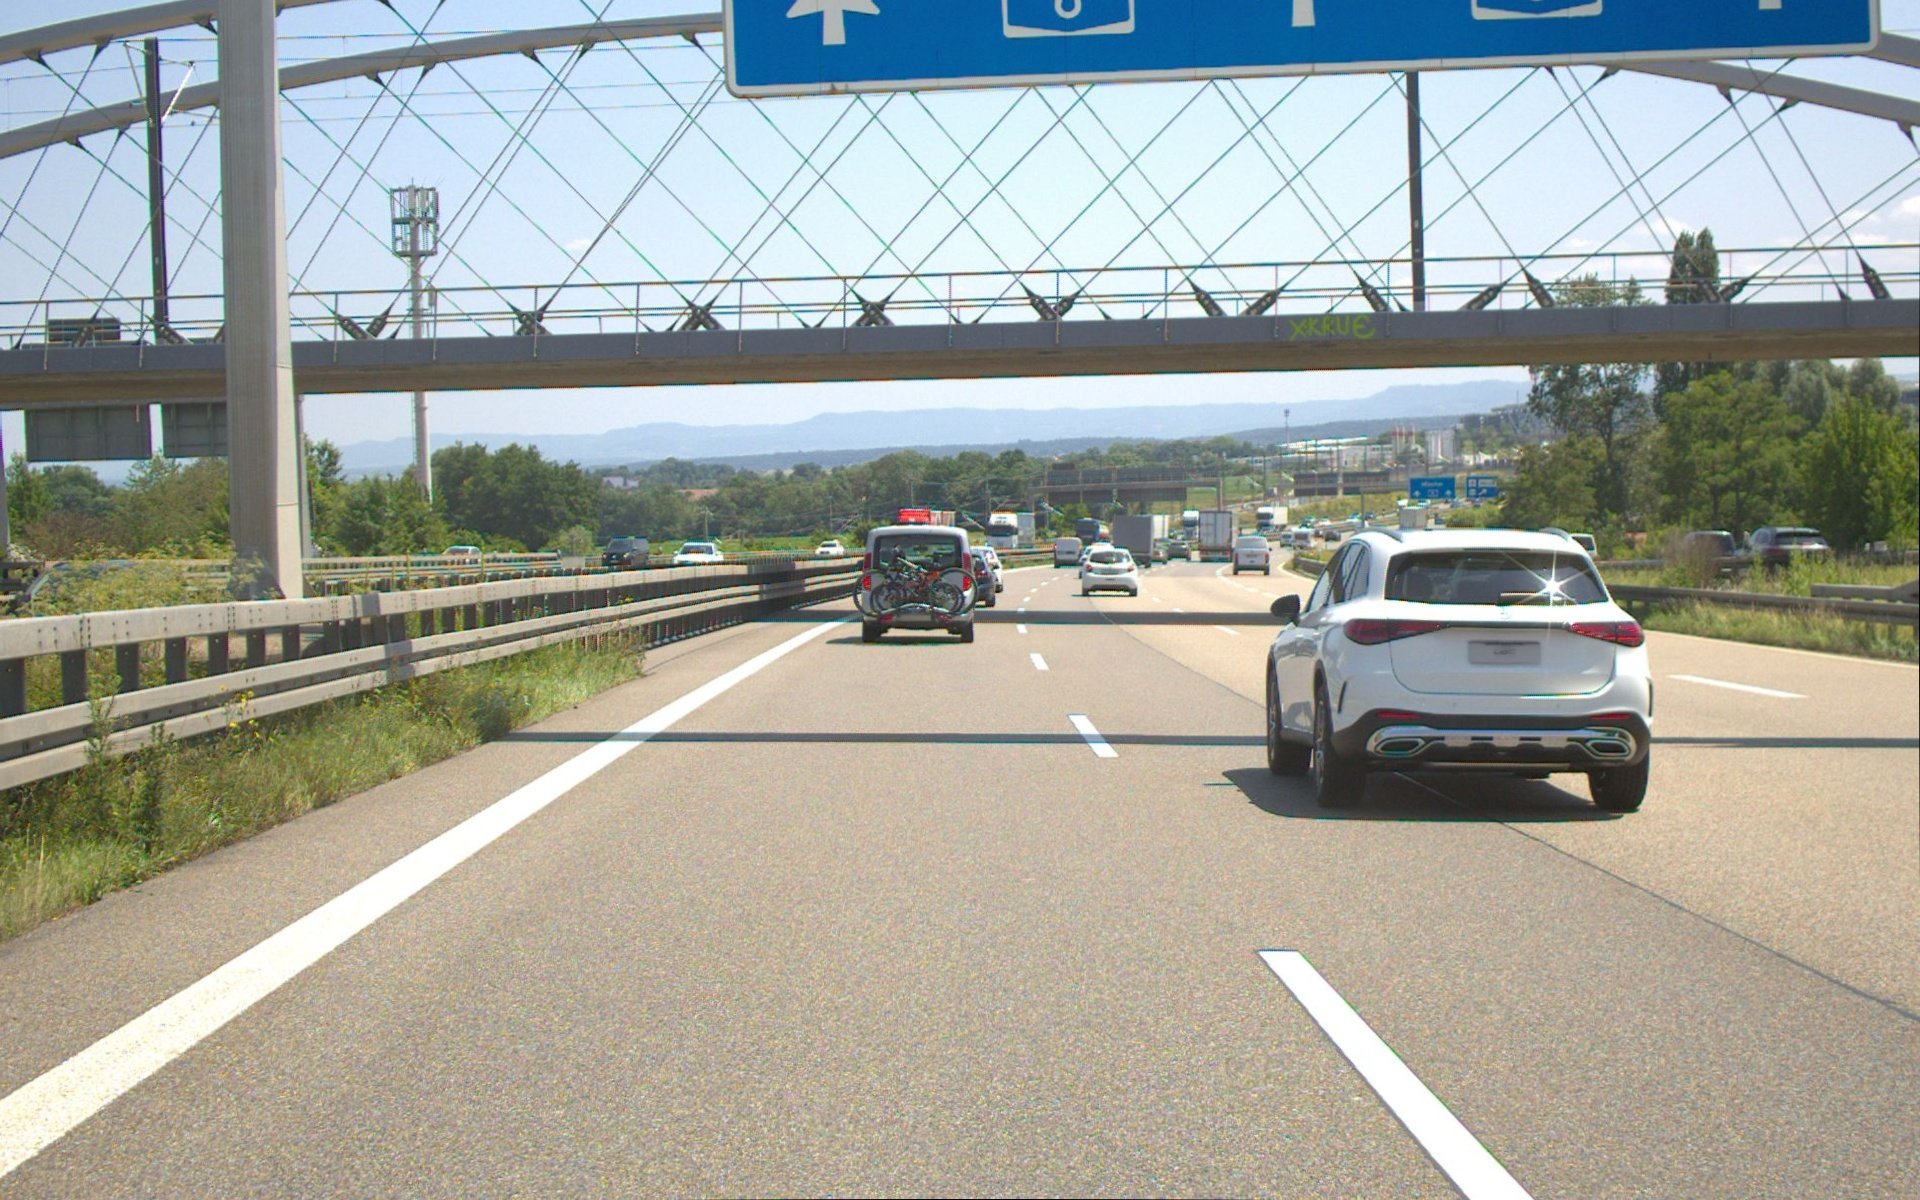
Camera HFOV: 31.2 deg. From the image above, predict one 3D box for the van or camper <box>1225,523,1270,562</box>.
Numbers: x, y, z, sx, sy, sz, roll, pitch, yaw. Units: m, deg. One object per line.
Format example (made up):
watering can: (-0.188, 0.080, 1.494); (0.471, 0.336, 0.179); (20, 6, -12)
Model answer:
van or camper: (14.995, -2.998, 179.608); (2.156, 2.007, 4.304); (1, 1, 3)

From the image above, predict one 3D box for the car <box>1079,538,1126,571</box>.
car: (6.405, -2.056, 154.987); (1.982, 1.468, 4.000); (0, 1, 0)

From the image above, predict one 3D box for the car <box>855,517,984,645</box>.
car: (-0.653, -0.314, 54.324); (1.926, 1.912, 4.948); (1, 1, -1)

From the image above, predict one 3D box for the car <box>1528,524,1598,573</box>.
car: (23.823, -2.035, 135.968); (1.939, 1.917, 4.179); (1, 1, -1)

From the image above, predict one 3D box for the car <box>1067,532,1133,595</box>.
car: (4.321, -1.133, 106.432); (1.926, 1.912, 4.518); (1, 1, 1)

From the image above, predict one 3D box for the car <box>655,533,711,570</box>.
car: (-12.139, -2.137, 150.926); (1.928, 1.633, 4.977); (0, 1, 1)

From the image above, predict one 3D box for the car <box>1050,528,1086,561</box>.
car: (6.734, -3.442, 214.579); (2.186, 1.996, 4.000); (1, 1, 1)

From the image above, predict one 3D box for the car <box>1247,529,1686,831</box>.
car: (2.990, 0.409, 21.364); (1.898, 1.641, 4.999); (1, 1, -1)

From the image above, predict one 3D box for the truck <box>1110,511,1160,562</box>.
truck: (11.201, -4.006, 218.866); (2.703, 3.098, 10.657); (1, 1, 5)

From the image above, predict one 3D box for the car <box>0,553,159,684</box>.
car: (-10.558, 0.172, 39.811); (1.598, 1.411, 4.264); (0, 1, 0)

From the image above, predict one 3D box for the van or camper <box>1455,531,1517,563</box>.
van or camper: (33.770, -3.388, 220.911); (2.528, 2.007, 4.462); (0, 1, -12)

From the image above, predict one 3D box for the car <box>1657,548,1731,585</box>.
car: (25.752, -1.193, 120.725); (1.699, 1.273, 4.000); (1, 1, -1)

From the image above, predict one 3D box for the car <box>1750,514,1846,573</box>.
car: (22.884, -1.547, 93.993); (1.699, 1.569, 4.128); (1, 1, 1)

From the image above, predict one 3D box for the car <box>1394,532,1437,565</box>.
car: (27.569, -3.120, 208.178); (1.993, 2.007, 4.000); (1, 1, -1)
